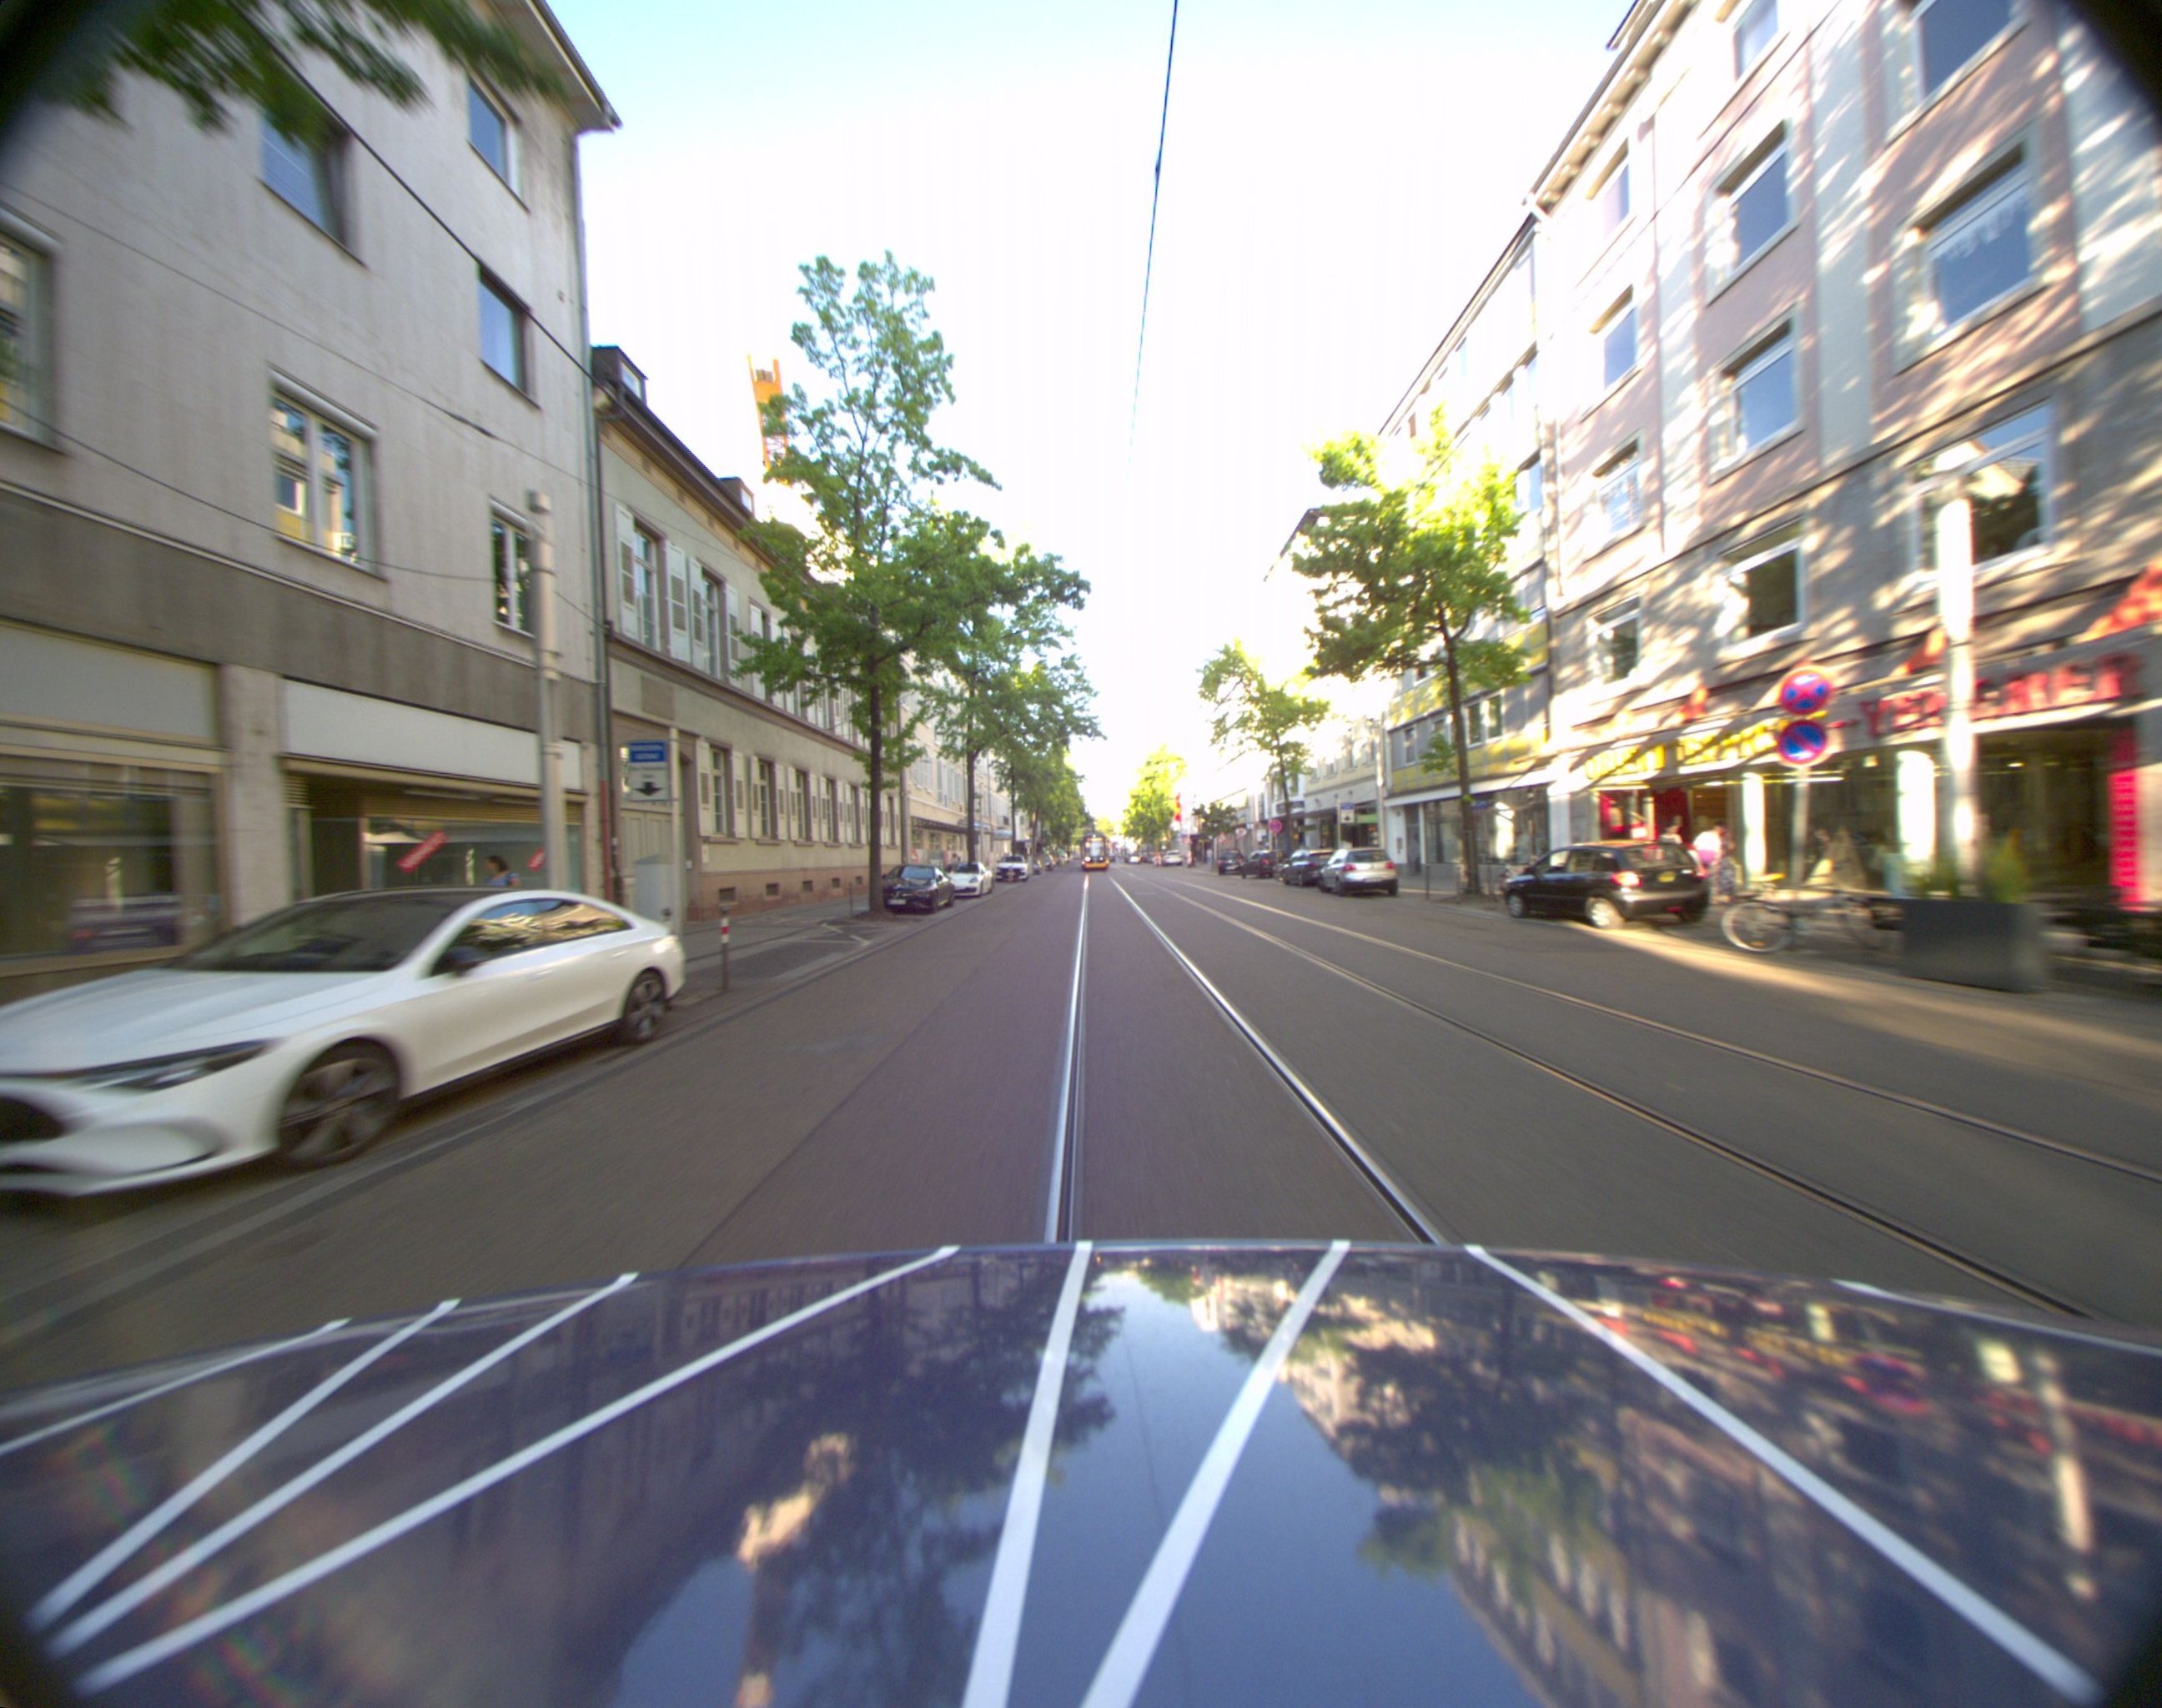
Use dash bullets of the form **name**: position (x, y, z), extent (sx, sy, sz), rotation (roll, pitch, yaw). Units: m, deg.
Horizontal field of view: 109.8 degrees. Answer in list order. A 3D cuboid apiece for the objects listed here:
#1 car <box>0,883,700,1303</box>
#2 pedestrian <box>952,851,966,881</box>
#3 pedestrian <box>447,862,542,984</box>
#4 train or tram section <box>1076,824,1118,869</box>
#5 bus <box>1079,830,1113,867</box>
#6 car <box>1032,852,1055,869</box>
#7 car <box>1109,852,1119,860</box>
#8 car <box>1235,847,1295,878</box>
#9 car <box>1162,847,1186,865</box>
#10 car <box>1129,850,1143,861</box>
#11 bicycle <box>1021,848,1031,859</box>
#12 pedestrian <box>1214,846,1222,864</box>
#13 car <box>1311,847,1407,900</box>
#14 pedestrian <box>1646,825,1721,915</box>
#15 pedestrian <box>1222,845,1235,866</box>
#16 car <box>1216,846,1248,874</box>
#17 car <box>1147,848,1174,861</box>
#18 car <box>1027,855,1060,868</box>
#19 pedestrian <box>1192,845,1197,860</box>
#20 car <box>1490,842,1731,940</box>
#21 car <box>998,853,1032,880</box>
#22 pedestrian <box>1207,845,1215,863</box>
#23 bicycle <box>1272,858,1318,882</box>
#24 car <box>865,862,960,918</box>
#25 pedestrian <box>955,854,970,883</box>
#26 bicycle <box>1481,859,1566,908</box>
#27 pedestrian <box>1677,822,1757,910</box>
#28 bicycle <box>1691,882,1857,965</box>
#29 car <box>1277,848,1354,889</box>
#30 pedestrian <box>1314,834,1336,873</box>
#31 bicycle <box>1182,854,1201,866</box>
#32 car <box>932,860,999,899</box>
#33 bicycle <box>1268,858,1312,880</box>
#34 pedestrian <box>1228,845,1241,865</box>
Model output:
- **car**: position (-4.965, 1.062, 5.445), extent (1.998, 1.489, 4.680), rotation (1, 0, 1)
- **pedestrian**: position (-7.559, 0.736, 47.104), extent (0.714, 1.876, 1.053), rotation (-1, 1, 1)
- **pedestrian**: position (-8.346, 0.945, 10.846), extent (0.659, 1.655, 0.888), rotation (1, 1, 0)
- **train or tram section**: position (1.547, -0.638, 75.733), extent (3.607, 3.974, 15.716), rotation (-2, 0, 1)
- **bus**: position (1.821, -0.591, 92.290), extent (3.616, 3.974, 17.483), rotation (-2, 0, 1)
- **car**: position (-4.037, 0.679, 81.626), extent (1.956, 1.782, 4.317), rotation (0, 0, 4)
- **car**: position (6.006, 0.369, 137.965), extent (1.783, 1.399, 4.528), rotation (-2, 0, 1)
- **car**: position (9.818, 0.426, 40.822), extent (1.797, 1.481, 4.240), rotation (-4, 0, -5)
- **car**: position (10.451, 0.219, 85.663), extent (1.998, 1.744, 4.744), rotation (-4, 0, 0)
- **car**: position (8.225, 0.202, 113.914), extent (1.889, 1.602, 4.200), rotation (0, 0, 1)
- **bicycle**: position (-5.417, -0.075, 75.002), extent (0.656, 1.064, 1.671), rotation (0, 0, -18)
- **pedestrian**: position (13.521, 0.114, 75.182), extent (0.628, 1.703, 0.808), rotation (-3, 1, 5)
- **car**: position (8.847, 0.572, 24.570), extent (1.771, 1.488, 4.175), rotation (-2, 1, 4)
- **pedestrian**: position (11.638, 0.299, 14.695), extent (0.846, 1.683, 0.740), rotation (-2, 1, 0)
- **pedestrian**: position (12.232, 0.125, 62.949), extent (0.853, 1.756, 0.832), rotation (-2, 0, -2)
- **car**: position (9.817, 0.348, 49.203), extent (1.632, 1.606, 3.712), rotation (-4, 0, 16)
- **car**: position (11.848, 0.058, 113.278), extent (3.403, 1.551, 1.786), rotation (-5, 1, -21)
- **car**: position (-4.906, 0.999, 99.976), extent (3.937, 1.599, 1.867), rotation (-2, 2, 8)
- **pedestrian**: position (15.625, -0.213, 104.589), extent (0.616, 2.002, 0.592), rotation (-2, 0, -1)
- **car**: position (9.422, 0.584, 13.950), extent (1.670, 1.420, 3.827), rotation (-5, 0, 0)
- **car**: position (-4.261, 0.777, 49.923), extent (2.003, 1.678, 4.966), rotation (0, 1, -2)
- **pedestrian**: position (12.573, -0.001, 73.417), extent (0.643, 1.703, 0.829), rotation (-3, 1, 5)
- **bicycle**: position (9.775, 0.731, 34.688), extent (1.975, 0.995, 0.330), rotation (-2, 1, 3)
- **car**: position (-5.039, 1.027, 23.374), extent (1.837, 1.469, 4.761), rotation (0, 0, 0)
- **pedestrian**: position (-6.553, 0.795, 42.053), extent (0.650, 1.564, 0.798), rotation (-2, 1, 1)
- **bicycle**: position (10.552, 0.687, 18.129), extent (1.815, 1.059, 0.440), rotation (-3, 1, -7)
- **pedestrian**: position (12.612, 0.235, 15.102), extent (0.791, 1.683, 0.913), rotation (-2, 1, 0)
- **bicycle**: position (9.003, 0.896, 9.906), extent (1.619, 0.960, 0.433), rotation (-4, 0, 6)
- **car**: position (9.428, 0.538, 30.921), extent (1.715, 1.452, 4.486), rotation (-4, 0, 1)
- **pedestrian**: position (11.821, -0.021, 36.808), extent (0.661, 1.815, 0.878), rotation (-5, 1, 1)
- **bicycle**: position (10.837, 0.565, 74.276), extent (1.748, 0.986, 0.478), rotation (-5, 0, 8)
- **car**: position (-4.710, 1.001, 31.642), extent (1.917, 1.412, 4.888), rotation (1, 0, 1)
- **bicycle**: position (9.980, 0.704, 36.378), extent (1.975, 0.995, 0.330), rotation (-2, 1, 3)
- **pedestrian**: position (13.478, 0.046, 66.675), extent (0.834, 1.685, 1.038), rotation (-4, 0, 1)
